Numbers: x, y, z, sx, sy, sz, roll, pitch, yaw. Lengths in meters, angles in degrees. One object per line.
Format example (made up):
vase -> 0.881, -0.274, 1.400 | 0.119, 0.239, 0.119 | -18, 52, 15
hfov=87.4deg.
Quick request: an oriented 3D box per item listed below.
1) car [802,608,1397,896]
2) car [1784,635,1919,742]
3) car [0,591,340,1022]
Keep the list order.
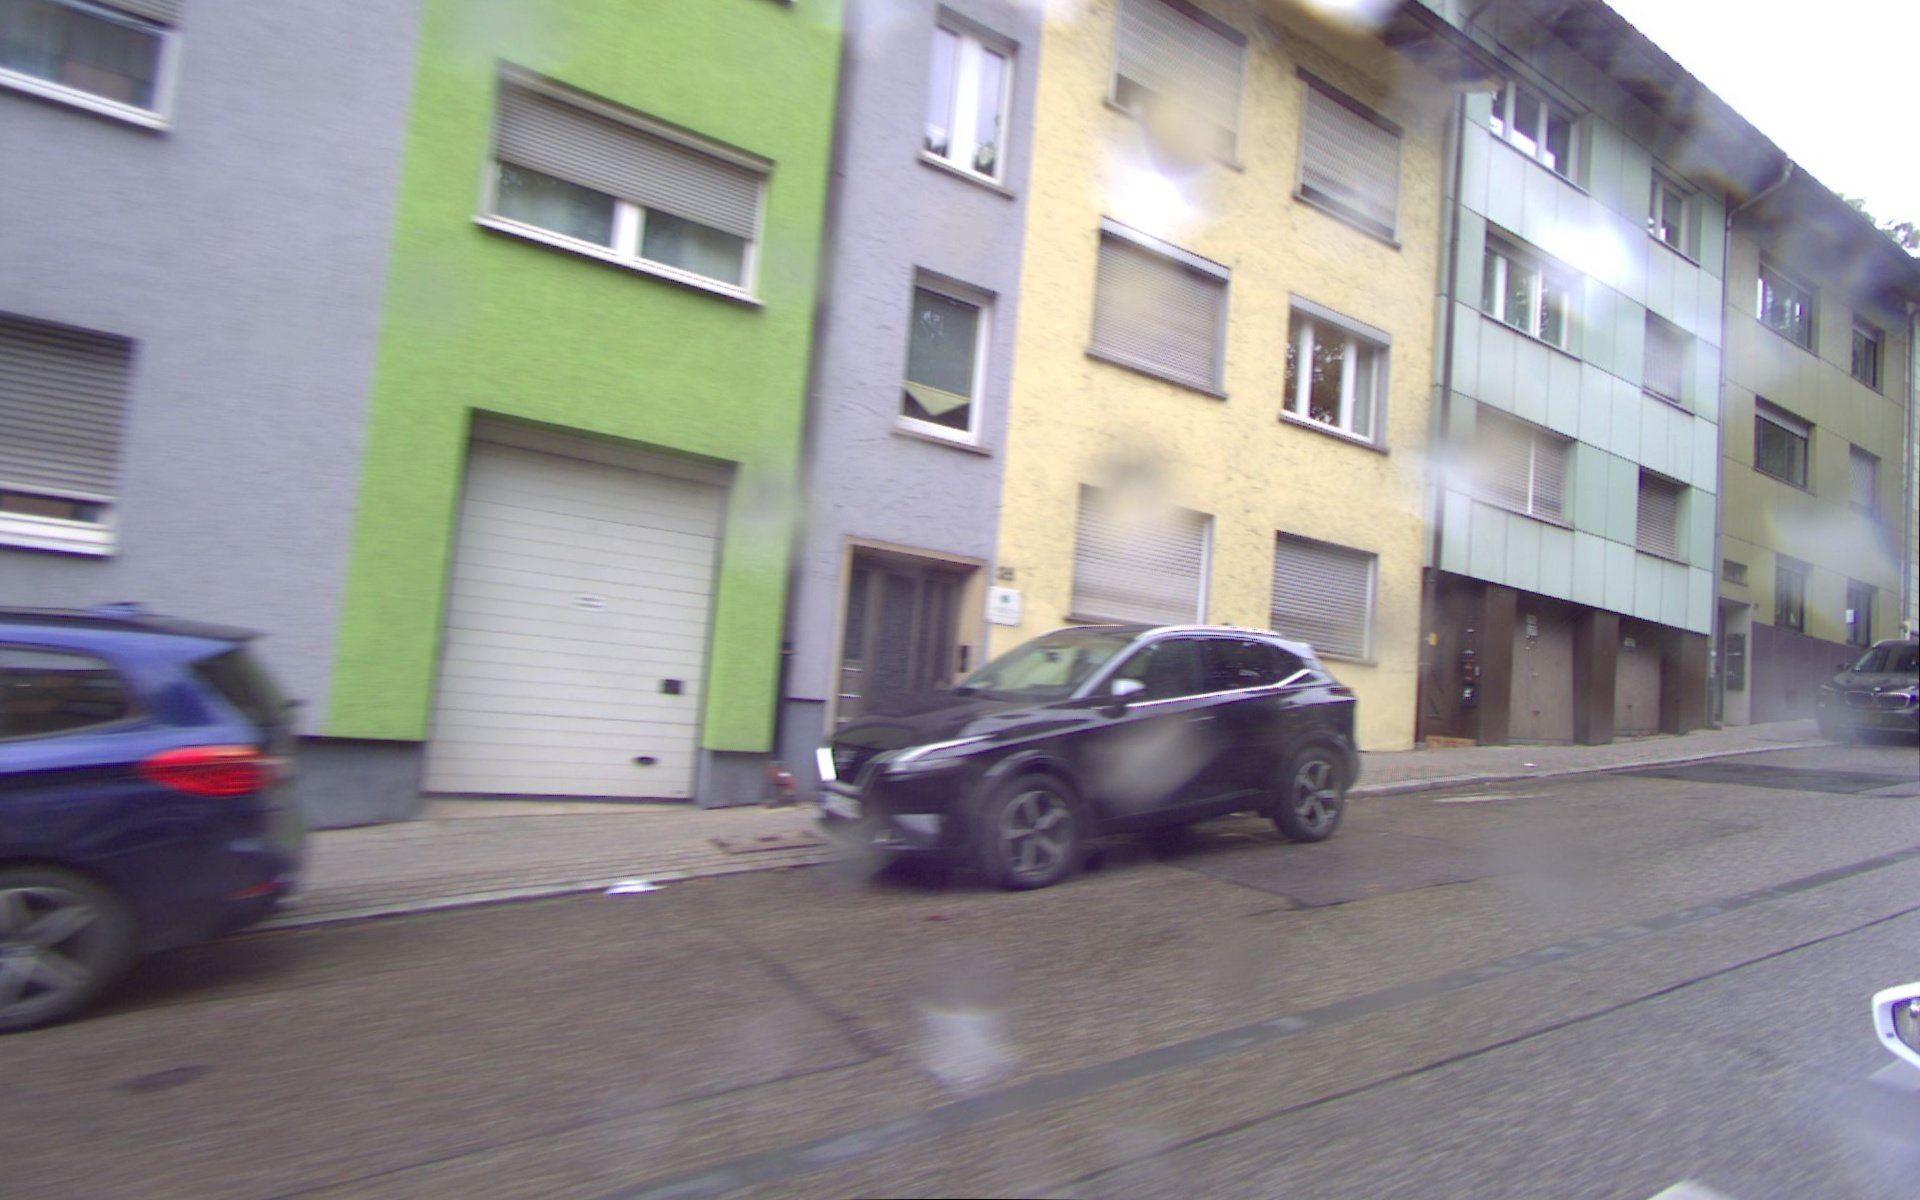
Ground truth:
car -> 1.150, 0.921, 7.534 | 4.257, 1.606, 1.843 | 2, -2, -32
car -> 15.824, 1.395, 16.752 | 4.257, 1.606, 1.980 | 2, -2, -32
car -> -5.079, 0.767, 3.975 | 4.422, 1.606, 1.983 | 2, -2, -32
